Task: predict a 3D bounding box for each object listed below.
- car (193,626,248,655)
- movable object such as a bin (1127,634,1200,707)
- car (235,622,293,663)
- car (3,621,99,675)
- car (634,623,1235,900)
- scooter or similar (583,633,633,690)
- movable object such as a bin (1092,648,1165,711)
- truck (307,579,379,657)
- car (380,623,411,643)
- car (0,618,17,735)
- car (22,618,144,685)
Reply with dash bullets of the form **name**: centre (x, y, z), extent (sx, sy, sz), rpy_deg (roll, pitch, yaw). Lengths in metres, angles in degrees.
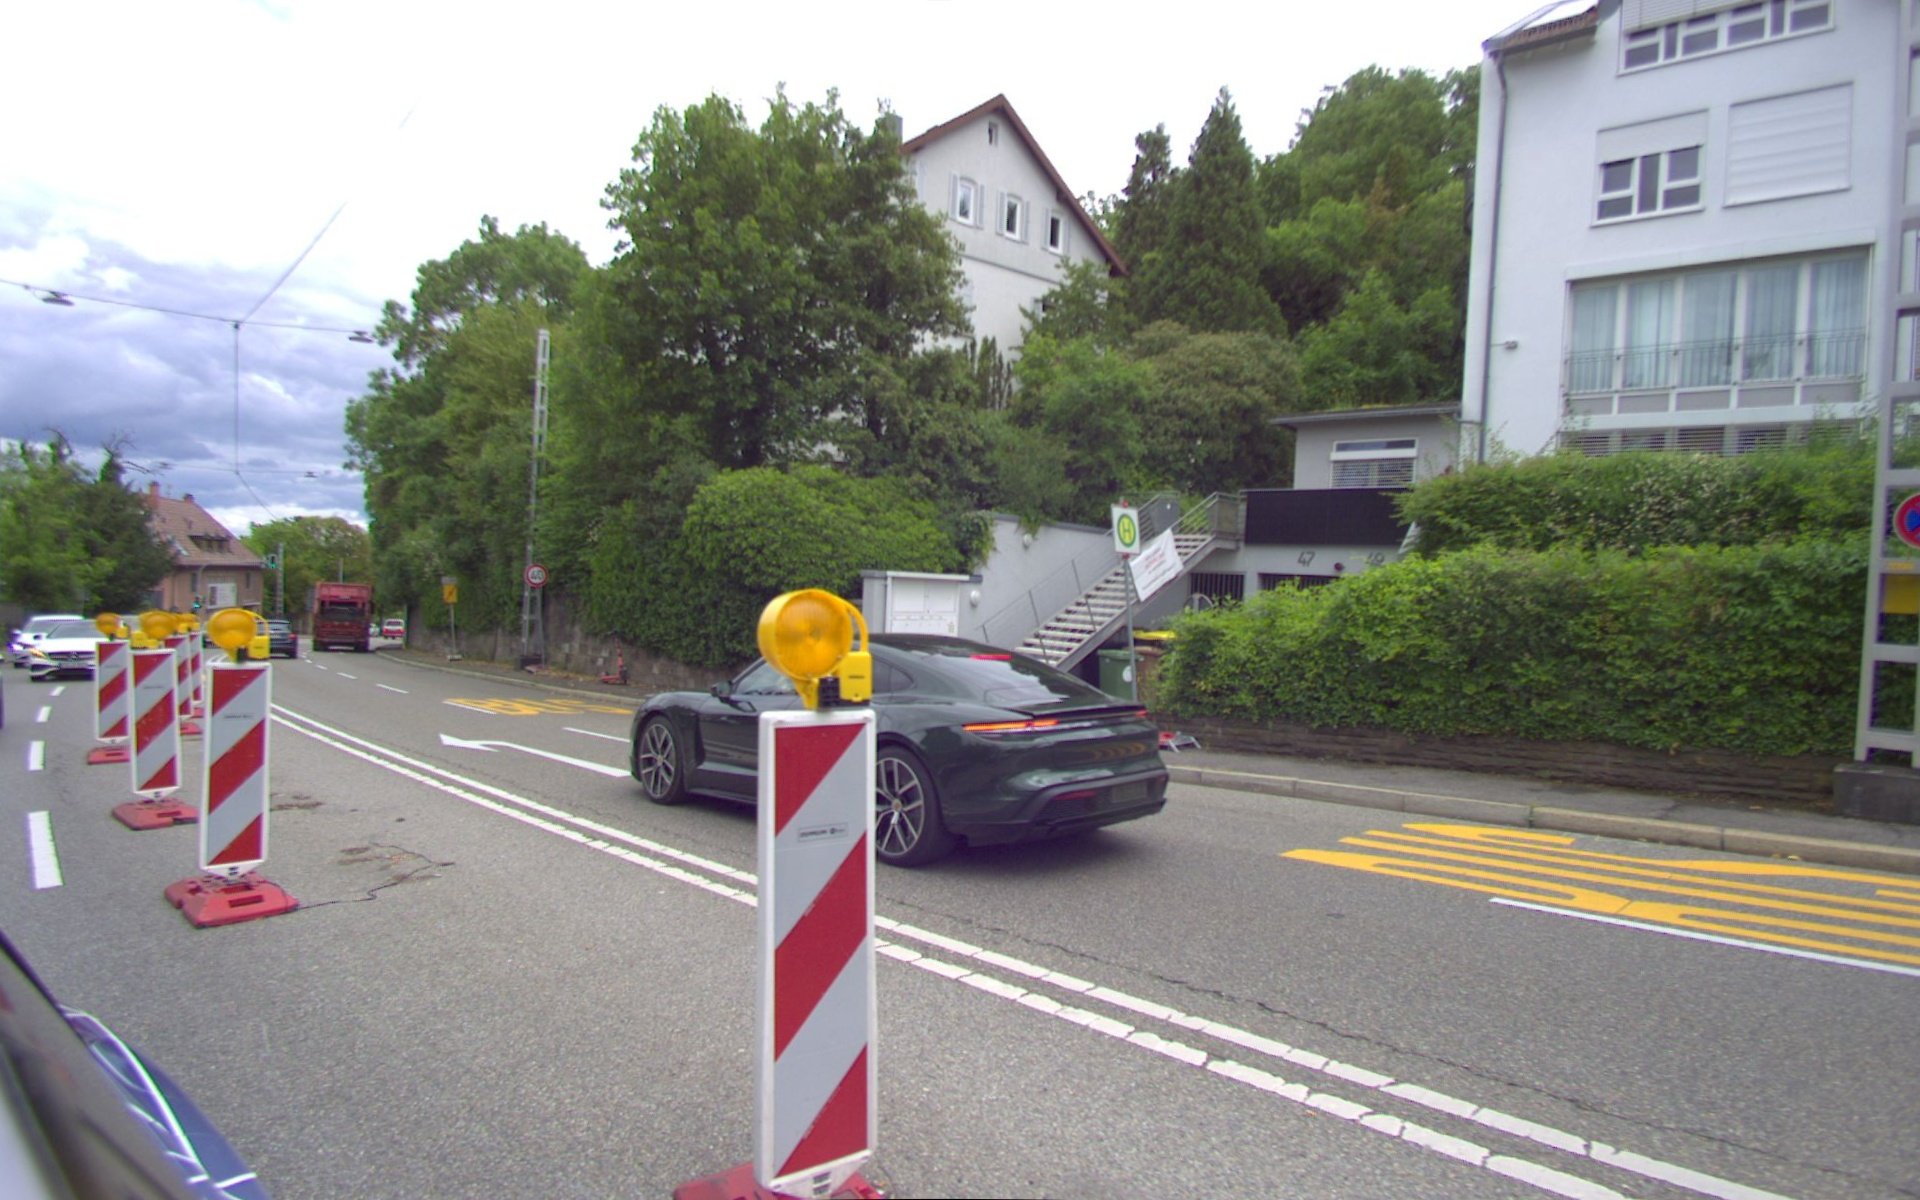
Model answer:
- **car**: centre (-40.398, 2.192, 55.358), extent (1.762, 1.492, 4.258), rpy_deg (0, -1, -27)
- **movable object such as a bin**: centre (3.997, 1.372, 19.868), extent (0.982, 1.383, 1.009), rpy_deg (4, -3, -40)
- **car**: centre (-26.893, 1.622, 39.063), extent (1.691, 1.472, 4.009), rpy_deg (3, -3, -36)
- **car**: centre (-28.168, 1.440, 31.473), extent (1.764, 1.563, 4.255), rpy_deg (0, -1, -36)
- **car**: centre (-0.451, 0.898, 7.358), extent (4.440, 1.402, 1.800), rpy_deg (-1, -4, 45)
- **scooter or similar**: centre (-7.915, 1.368, 22.752), extent (1.280, 1.218, 0.424), rpy_deg (-1, 1, 39)
- **movable object such as a bin**: centre (3.086, 1.437, 18.520), extent (1.090, 1.098, 0.805), rpy_deg (4, -3, -40)
- **truck**: centre (-33.368, 1.065, 55.032), extent (2.820, 3.726, 9.686), rpy_deg (5, -4, -30)
- **car**: centre (-56.292, 3.290, 100.953), extent (1.962, 1.920, 4.258), rpy_deg (3, -3, -21)
- **car**: centre (-12.514, 0.956, 11.834), extent (1.764, 1.492, 4.253), rpy_deg (2, -2, -38)
- **car**: centre (-21.331, 1.191, 24.766), extent (1.763, 1.492, 4.255), rpy_deg (1, -1, -35)
